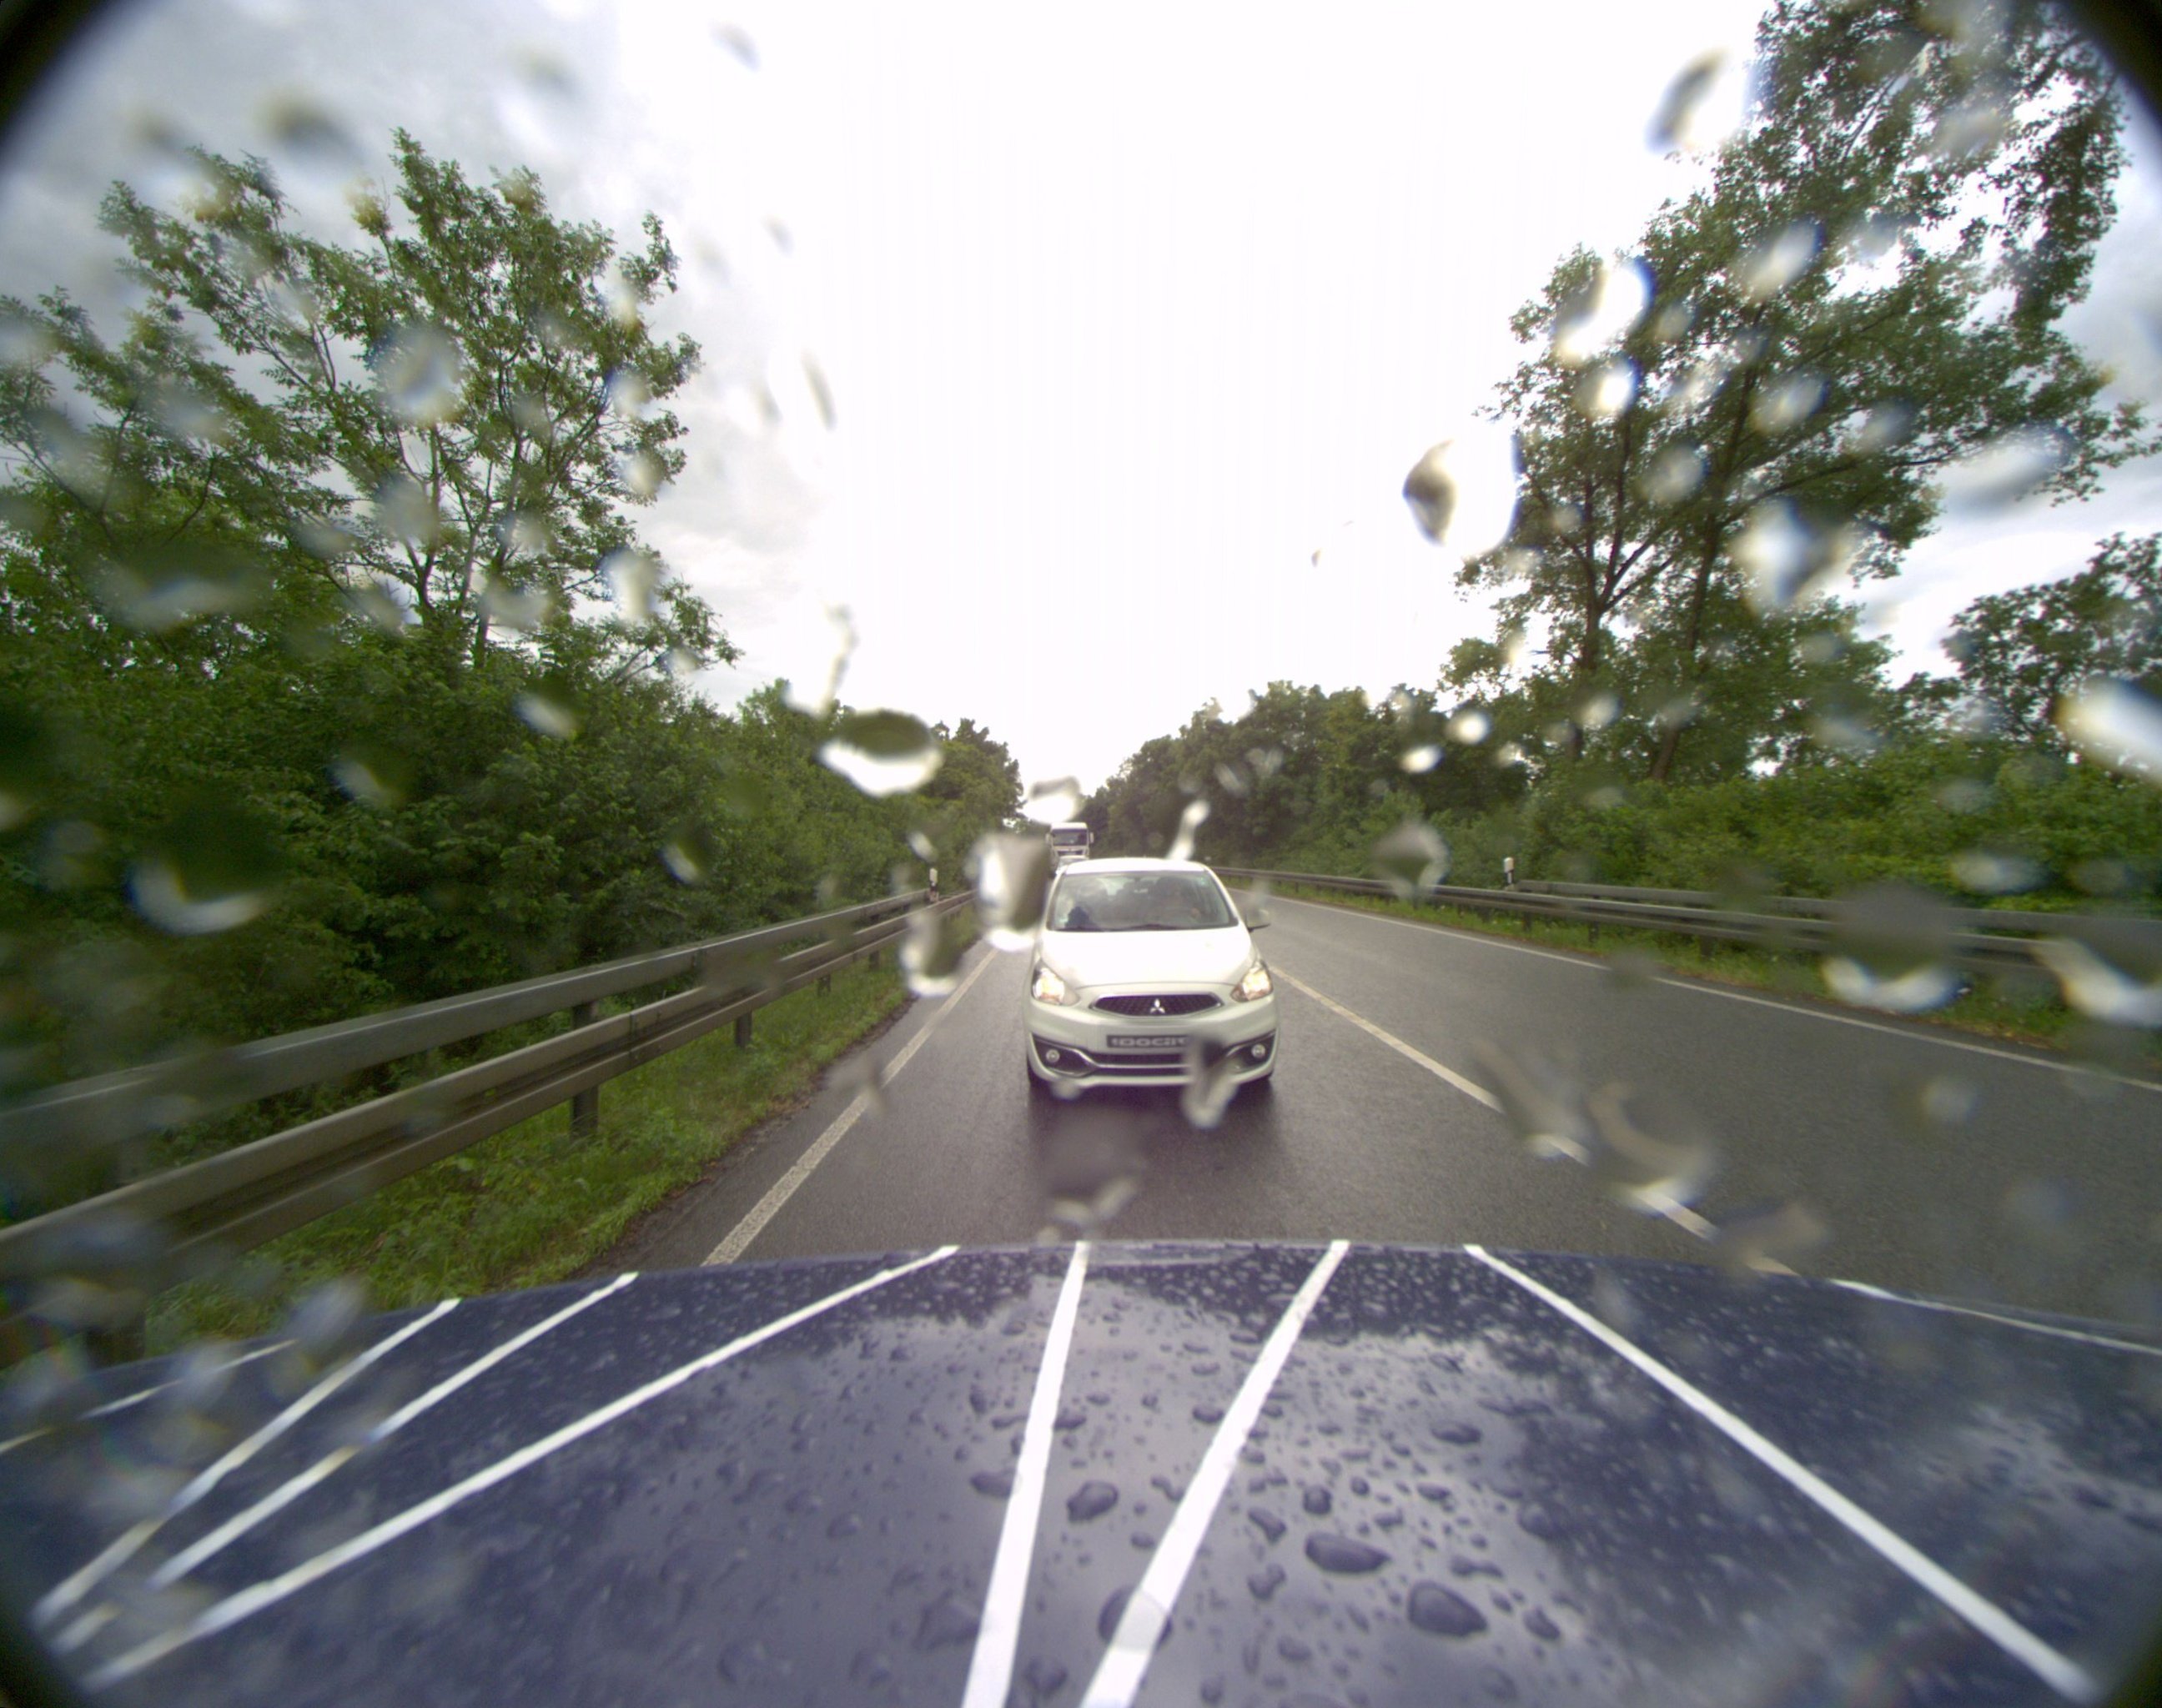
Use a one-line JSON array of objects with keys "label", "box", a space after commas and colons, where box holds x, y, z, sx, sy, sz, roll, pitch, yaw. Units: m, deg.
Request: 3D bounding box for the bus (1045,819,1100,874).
[{"label": "bus", "box": [-0.866, -0.481, 54.410, 3.064, 3.405, 13.634, -2, 0, -4]}]

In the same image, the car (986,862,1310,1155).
[{"label": "car", "box": [0.411, 0.858, 6.106, 1.700, 1.471, 4.063, -1, 0, 1]}]

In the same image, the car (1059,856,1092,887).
[{"label": "car", "box": [-0.240, 0.804, 36.273, 1.476, 1.410, 3.428, -1, 0, 0]}]

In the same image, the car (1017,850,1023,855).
[{"label": "car", "box": [-14.930, -0.410, 186.764, 1.145, 1.123, 2.550, -2, 0, -10]}]

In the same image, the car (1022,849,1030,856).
[{"label": "car", "box": [-12.514, -0.333, 173.095, 1.421, 1.611, 3.476, -2, 0, -9]}]

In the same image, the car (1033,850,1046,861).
[{"label": "car", "box": [-7.771, 0.323, 142.678, 2.000, 1.936, 3.996, -2, 0, -10]}]
